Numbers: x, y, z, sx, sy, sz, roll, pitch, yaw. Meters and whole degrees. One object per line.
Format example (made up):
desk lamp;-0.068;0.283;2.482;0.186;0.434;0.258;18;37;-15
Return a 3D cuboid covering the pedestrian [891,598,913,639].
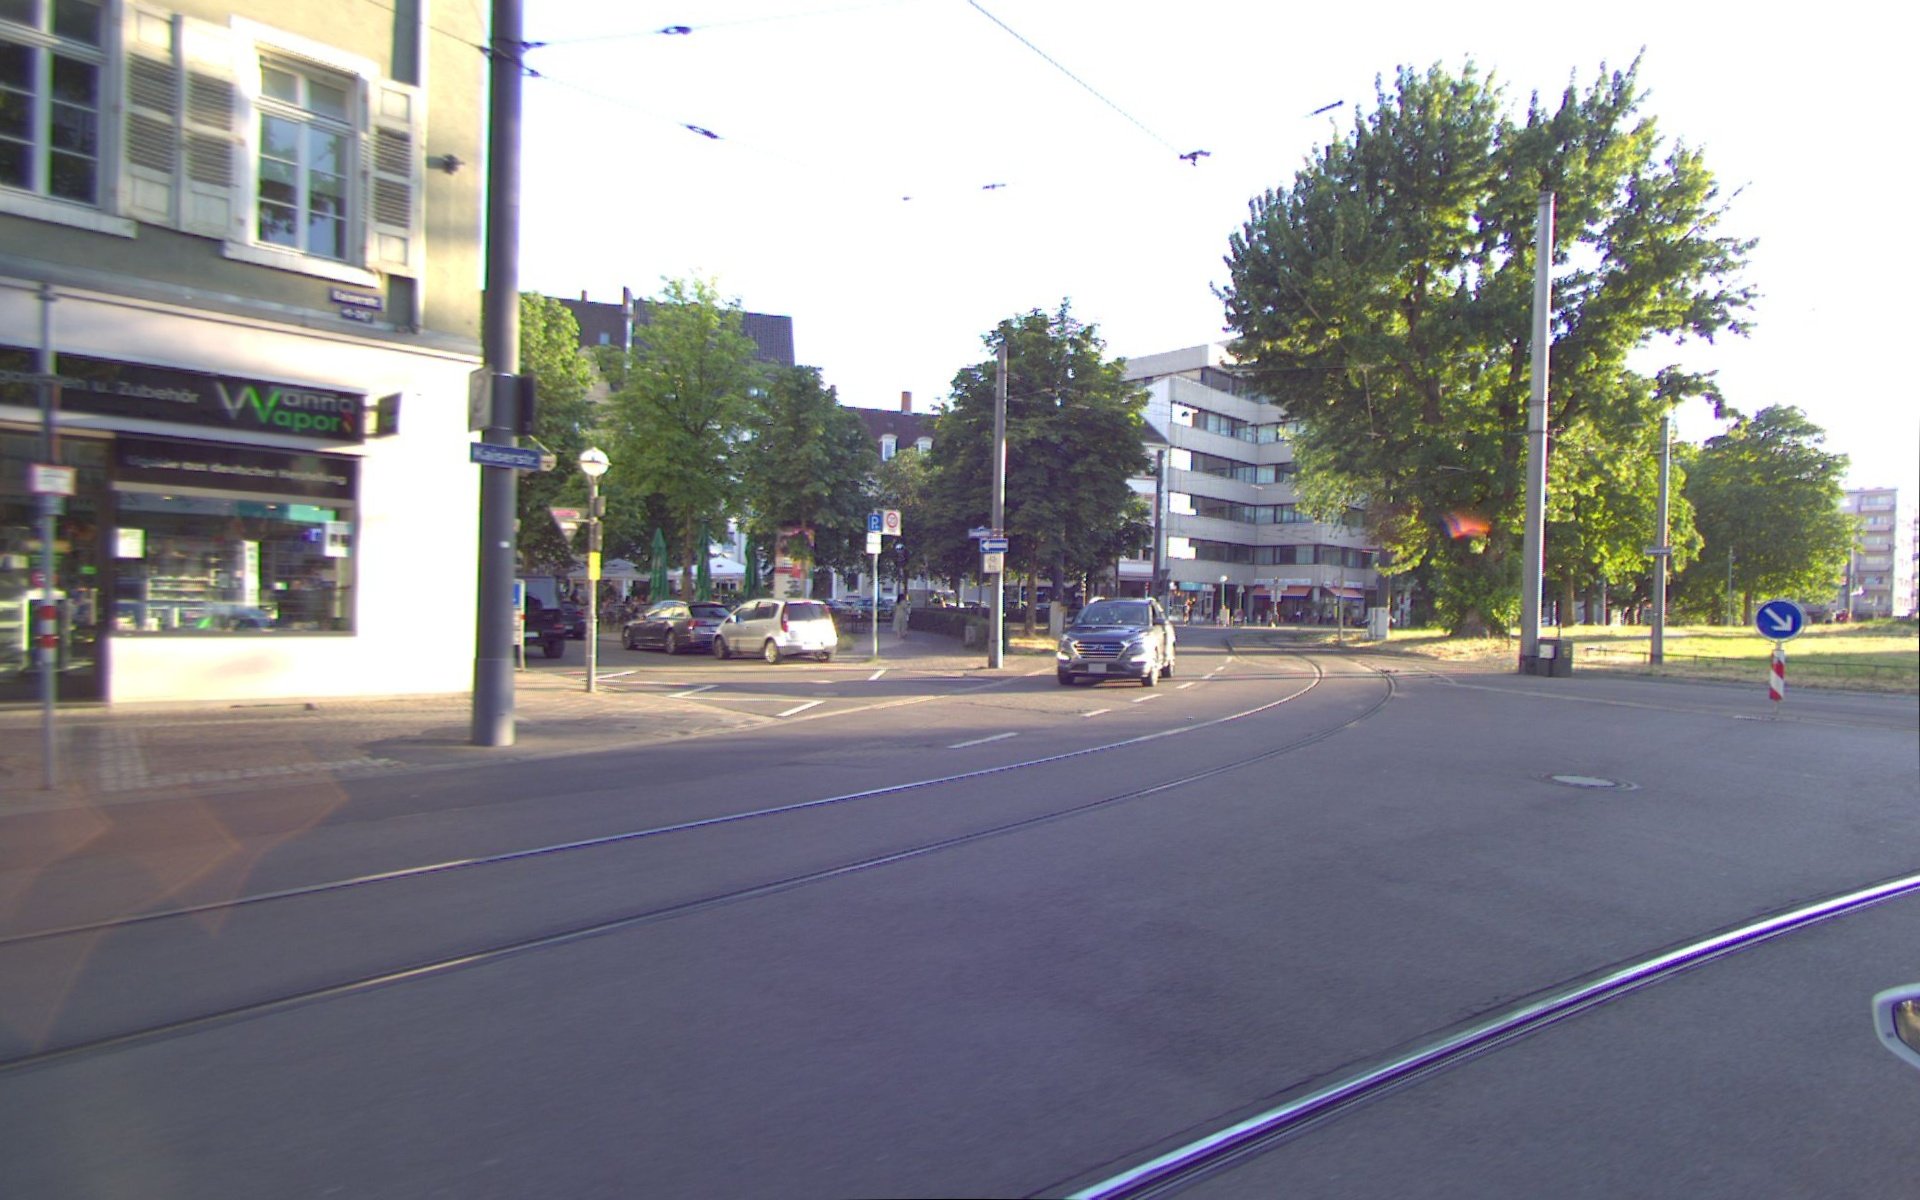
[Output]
pedestrian;-2.050;0.649;35.615;0.730;1.429;0.772;1;0;1

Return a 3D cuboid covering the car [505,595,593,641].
car;-15.062;0.636;36.716;1.885;1.535;3.591;1;0;-42

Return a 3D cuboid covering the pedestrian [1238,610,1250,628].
pedestrian;24.809;1.669;87.708;0.759;1.523;0.742;1;0;-17

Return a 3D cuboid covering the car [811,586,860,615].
car;-8.066;0.027;64.800;1.974;1.806;3.973;1;0;-26

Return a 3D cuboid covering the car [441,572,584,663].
car;-11.202;0.380;24.967;1.912;2.040;4.576;1;0;-42

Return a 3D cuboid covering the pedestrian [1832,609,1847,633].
pedestrian;62.213;1.489;71.068;0.760;1.627;0.635;1;0;43

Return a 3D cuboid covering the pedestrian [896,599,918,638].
pedestrian;-1.925;0.666;36.782;0.730;1.429;0.772;1;0;1

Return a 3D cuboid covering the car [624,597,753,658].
car;-7.687;0.717;28.218;1.885;1.535;4.090;1;0;-42

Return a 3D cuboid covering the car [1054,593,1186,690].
car;3.311;0.750;20.084;1.930;1.699;4.360;0;0;18

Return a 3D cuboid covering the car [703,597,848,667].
car;-4.628;0.740;24.808;1.715;1.535;3.951;1;0;-42

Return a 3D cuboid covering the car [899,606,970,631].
car;-1.195;0.871;47.788;1.695;1.133;3.248;1;0;39

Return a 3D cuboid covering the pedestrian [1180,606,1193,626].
pedestrian;17.238;1.189;76.336;0.732;1.523;0.769;1;0;34

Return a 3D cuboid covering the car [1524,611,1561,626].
car;57.115;1.809;98.471;3.891;1.439;1.862;1;0;-39

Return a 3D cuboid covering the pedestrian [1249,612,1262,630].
pedestrian;25.862;1.823;87.965;0.759;1.523;0.742;1;0;-17

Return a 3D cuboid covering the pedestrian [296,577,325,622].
pedestrian;-23.476;-0.011;36.298;0.765;1.578;0.736;1;0;-40

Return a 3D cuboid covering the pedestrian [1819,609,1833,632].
pedestrian;62.091;1.492;72.028;0.760;1.627;0.635;1;0;43
